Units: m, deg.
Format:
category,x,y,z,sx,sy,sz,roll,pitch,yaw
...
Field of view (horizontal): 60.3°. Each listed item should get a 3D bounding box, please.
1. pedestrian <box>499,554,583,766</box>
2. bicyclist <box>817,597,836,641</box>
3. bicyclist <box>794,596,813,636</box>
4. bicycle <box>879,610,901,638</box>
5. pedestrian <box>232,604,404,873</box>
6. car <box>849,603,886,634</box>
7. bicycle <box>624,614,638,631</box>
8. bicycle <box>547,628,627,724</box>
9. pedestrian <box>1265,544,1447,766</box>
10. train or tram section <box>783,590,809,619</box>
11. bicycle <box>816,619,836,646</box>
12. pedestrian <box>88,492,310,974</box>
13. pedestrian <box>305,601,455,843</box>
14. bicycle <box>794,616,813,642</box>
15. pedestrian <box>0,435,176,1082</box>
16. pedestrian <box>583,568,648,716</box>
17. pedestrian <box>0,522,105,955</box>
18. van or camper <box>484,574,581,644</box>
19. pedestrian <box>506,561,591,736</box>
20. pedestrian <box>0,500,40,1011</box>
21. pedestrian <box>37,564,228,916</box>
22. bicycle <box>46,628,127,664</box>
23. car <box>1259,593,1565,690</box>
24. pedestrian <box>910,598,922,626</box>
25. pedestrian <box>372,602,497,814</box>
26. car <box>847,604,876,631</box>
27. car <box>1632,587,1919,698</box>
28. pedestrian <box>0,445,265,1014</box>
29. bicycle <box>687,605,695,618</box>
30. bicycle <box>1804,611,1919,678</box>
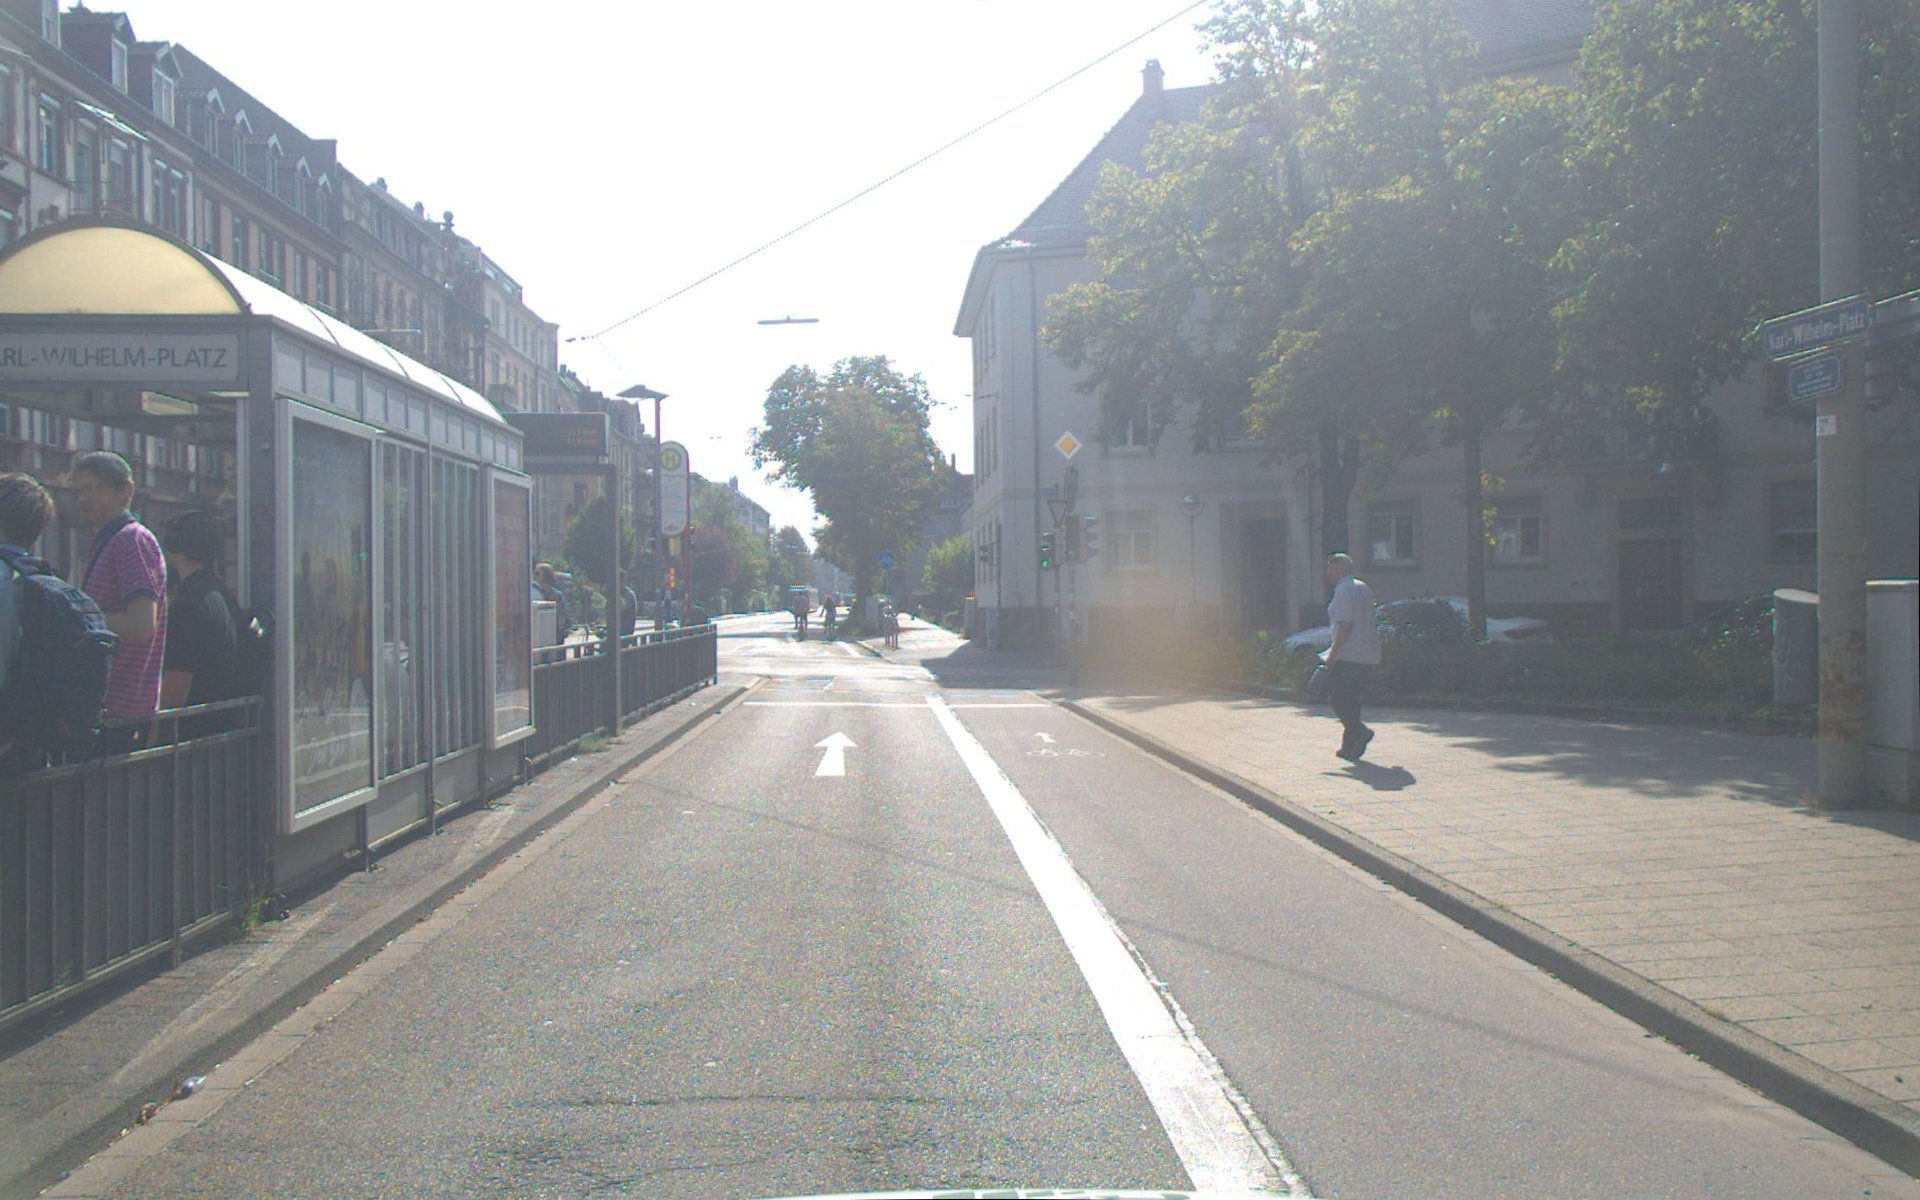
category,x,y,z,sx,sy,sz,roll,pitch,yaw
pedestrian,-3.735,0.521,14.785,0.592,1.838,0.729,0,0,-5
bicyclist,-4.639,0.673,57.467,0.641,1.500,0.908,1,-1,-4
bicyclist,-5.621,0.577,59.539,0.614,1.425,0.928,1,-1,-4
bicycle,-2.879,0.987,67.890,0.757,1.123,2.330,-1,0,-5
pedestrian,-3.386,0.705,8.769,0.673,1.363,0.622,-1,0,-3
car,-5.080,1.014,91.521,1.611,1.567,3.843,-3,0,2
bicycle,-21.563,1.443,108.485,0.534,1.076,1.839,3,-1,-2
bicycle,-4.634,0.924,20.635,0.462,1.123,1.738,-1,0,5
pedestrian,3.370,0.453,14.092,1.068,1.754,0.958,-4,0,-35
train or tram section,-20.521,0.570,207.849,2.680,3.567,15.421,0,0,-4
bicycle,-4.655,1.113,57.475,0.641,0.925,1.773,1,-1,-4
pedestrian,-2.969,0.495,6.500,0.577,1.795,0.607,-1,0,-1
pedestrian,-3.487,0.710,9.979,0.693,1.402,0.622,-1,0,-3
bicycle,-5.631,1.030,59.523,0.614,0.925,1.524,1,-1,-4
pedestrian,-2.902,0.463,5.133,0.624,1.880,0.633,-1,0,-1
pedestrian,-4.275,0.506,20.540,0.676,1.797,0.796,-1,0,-5
pedestrian,-4.067,0.563,6.986,0.577,1.751,0.607,-1,0,-1
van or camper,-17.485,0.387,67.967,2.007,2.691,6.092,-1,-1,4
pedestrian,-4.315,0.502,17.377,0.752,1.791,0.680,-1,0,-5
pedestrian,-3.661,0.545,5.691,0.624,1.778,0.633,-1,0,-1
pedestrian,-3.847,0.626,7.727,0.577,1.571,0.607,-1,0,-1
bicycle,-22.472,1.180,42.567,0.517,0.875,1.822,-1,0,35
car,7.915,0.710,29.218,4.857,1.494,1.869,-1,2,38
pedestrian,-2.819,0.773,106.199,0.736,1.779,0.878,-1,0,3
pedestrian,-3.594,0.718,11.350,0.673,1.402,0.622,-1,0,-3
car,-5.921,1.054,99.474,1.612,1.473,4.243,-3,0,-3
car,12.386,0.583,24.944,1.734,1.477,3.837,-2,1,-37
pedestrian,-2.899,0.428,5.816,0.624,1.880,0.633,-1,0,-1
bicycle,-23.327,0.992,143.537,0.498,1.127,2.002,-1,-1,-3
bicycle,15.780,0.759,28.857,0.601,1.076,1.817,0,2,-35
